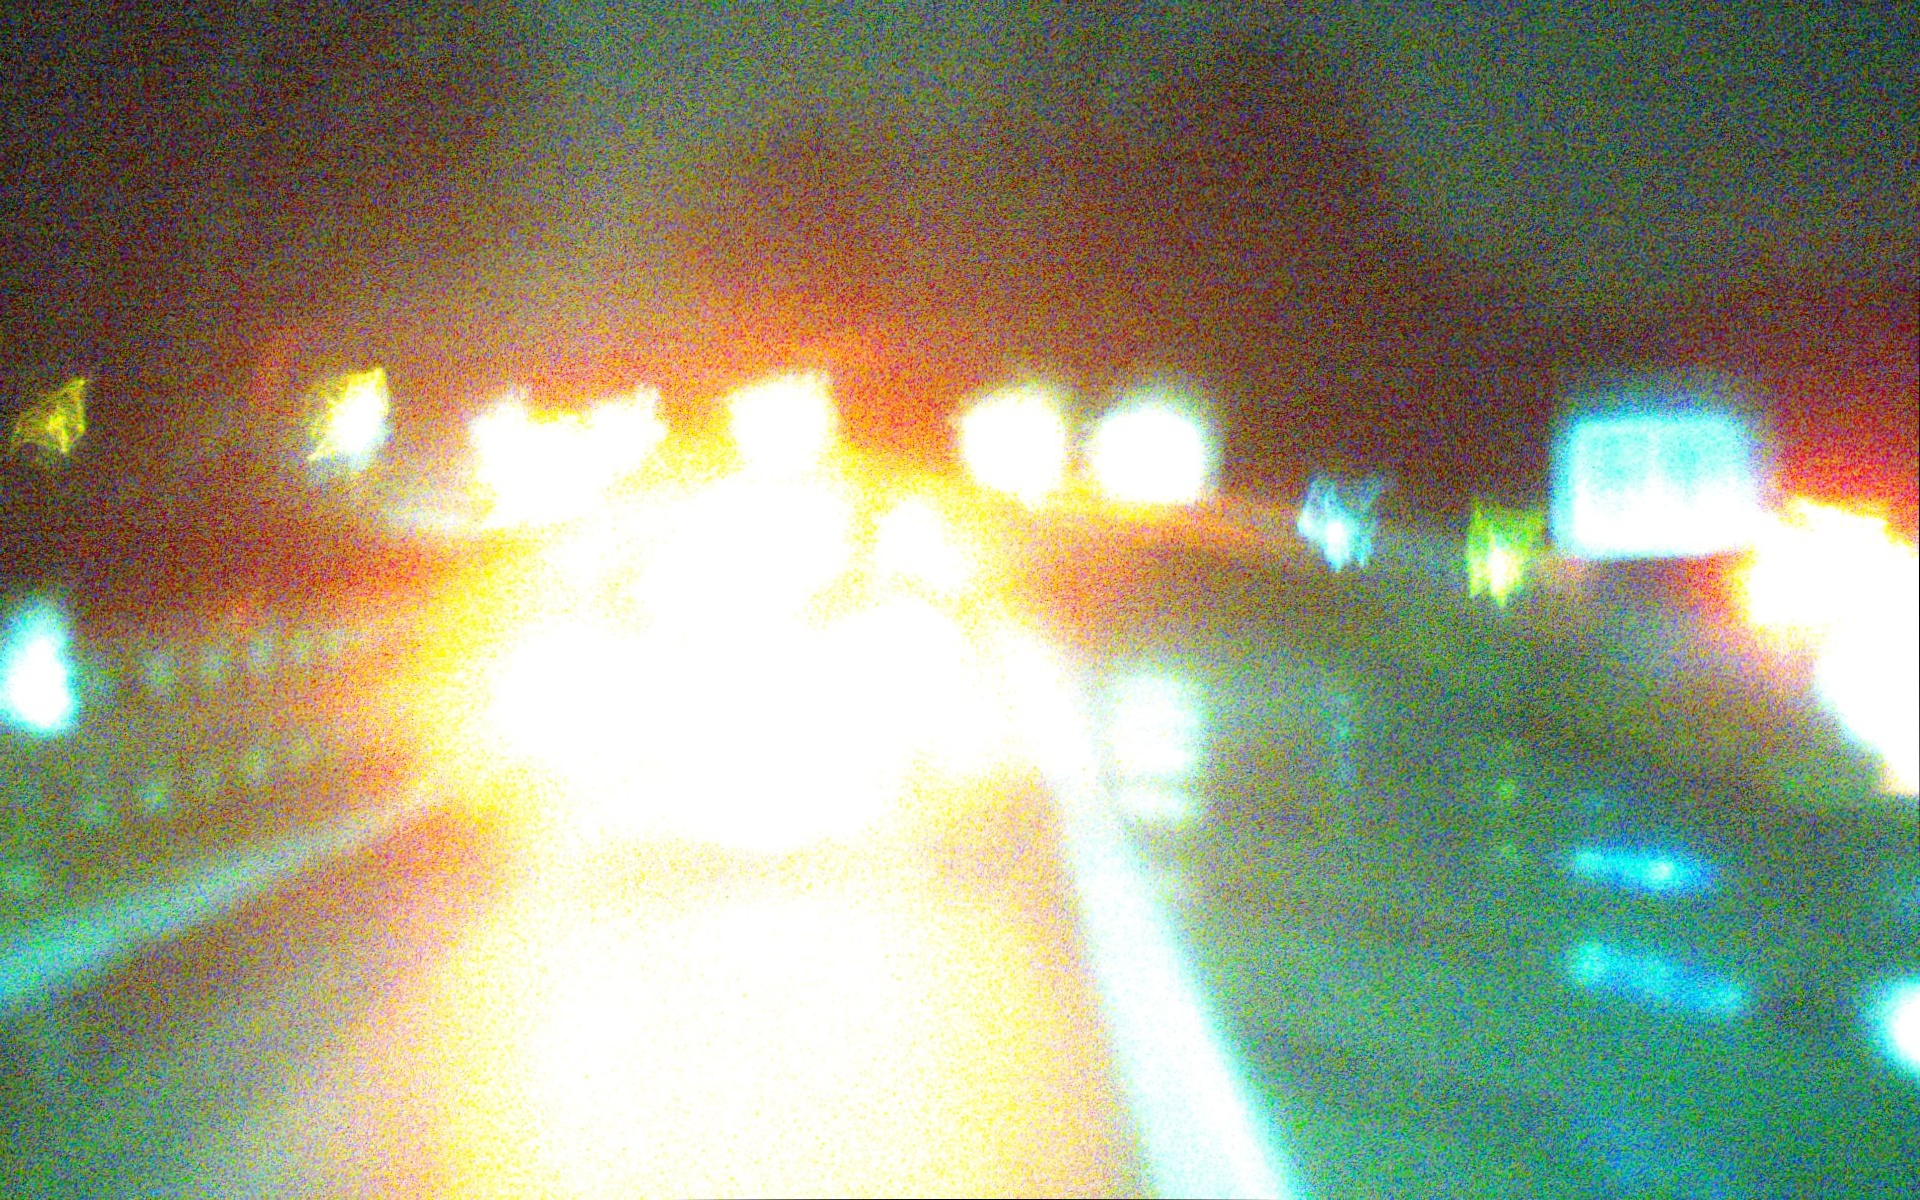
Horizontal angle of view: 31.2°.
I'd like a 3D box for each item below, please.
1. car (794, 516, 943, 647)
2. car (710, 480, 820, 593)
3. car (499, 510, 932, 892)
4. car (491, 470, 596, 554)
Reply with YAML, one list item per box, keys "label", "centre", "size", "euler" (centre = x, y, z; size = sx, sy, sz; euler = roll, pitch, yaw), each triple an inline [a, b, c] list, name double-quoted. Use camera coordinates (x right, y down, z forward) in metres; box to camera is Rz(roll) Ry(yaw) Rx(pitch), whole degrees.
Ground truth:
- label: "car"
  centre: [-1.303, -0.267, 47.273]
  size: [1.895, 1.714, 4.046]
  euler: [0, 1, -4]
- label: "car"
  centre: [-3.665, -1.182, 64.165]
  size: [1.895, 2.033, 4.046]
  euler: [0, 1, -5]
- label: "car"
  centre: [-1.133, 0.400, 16.981]
  size: [1.860, 1.641, 4.069]
  euler: [-1, 1, -2]
- label: "car"
  centre: [-10.174, -2.137, 83.756]
  size: [1.895, 1.991, 4.047]
  euler: [0, 1, -17]
